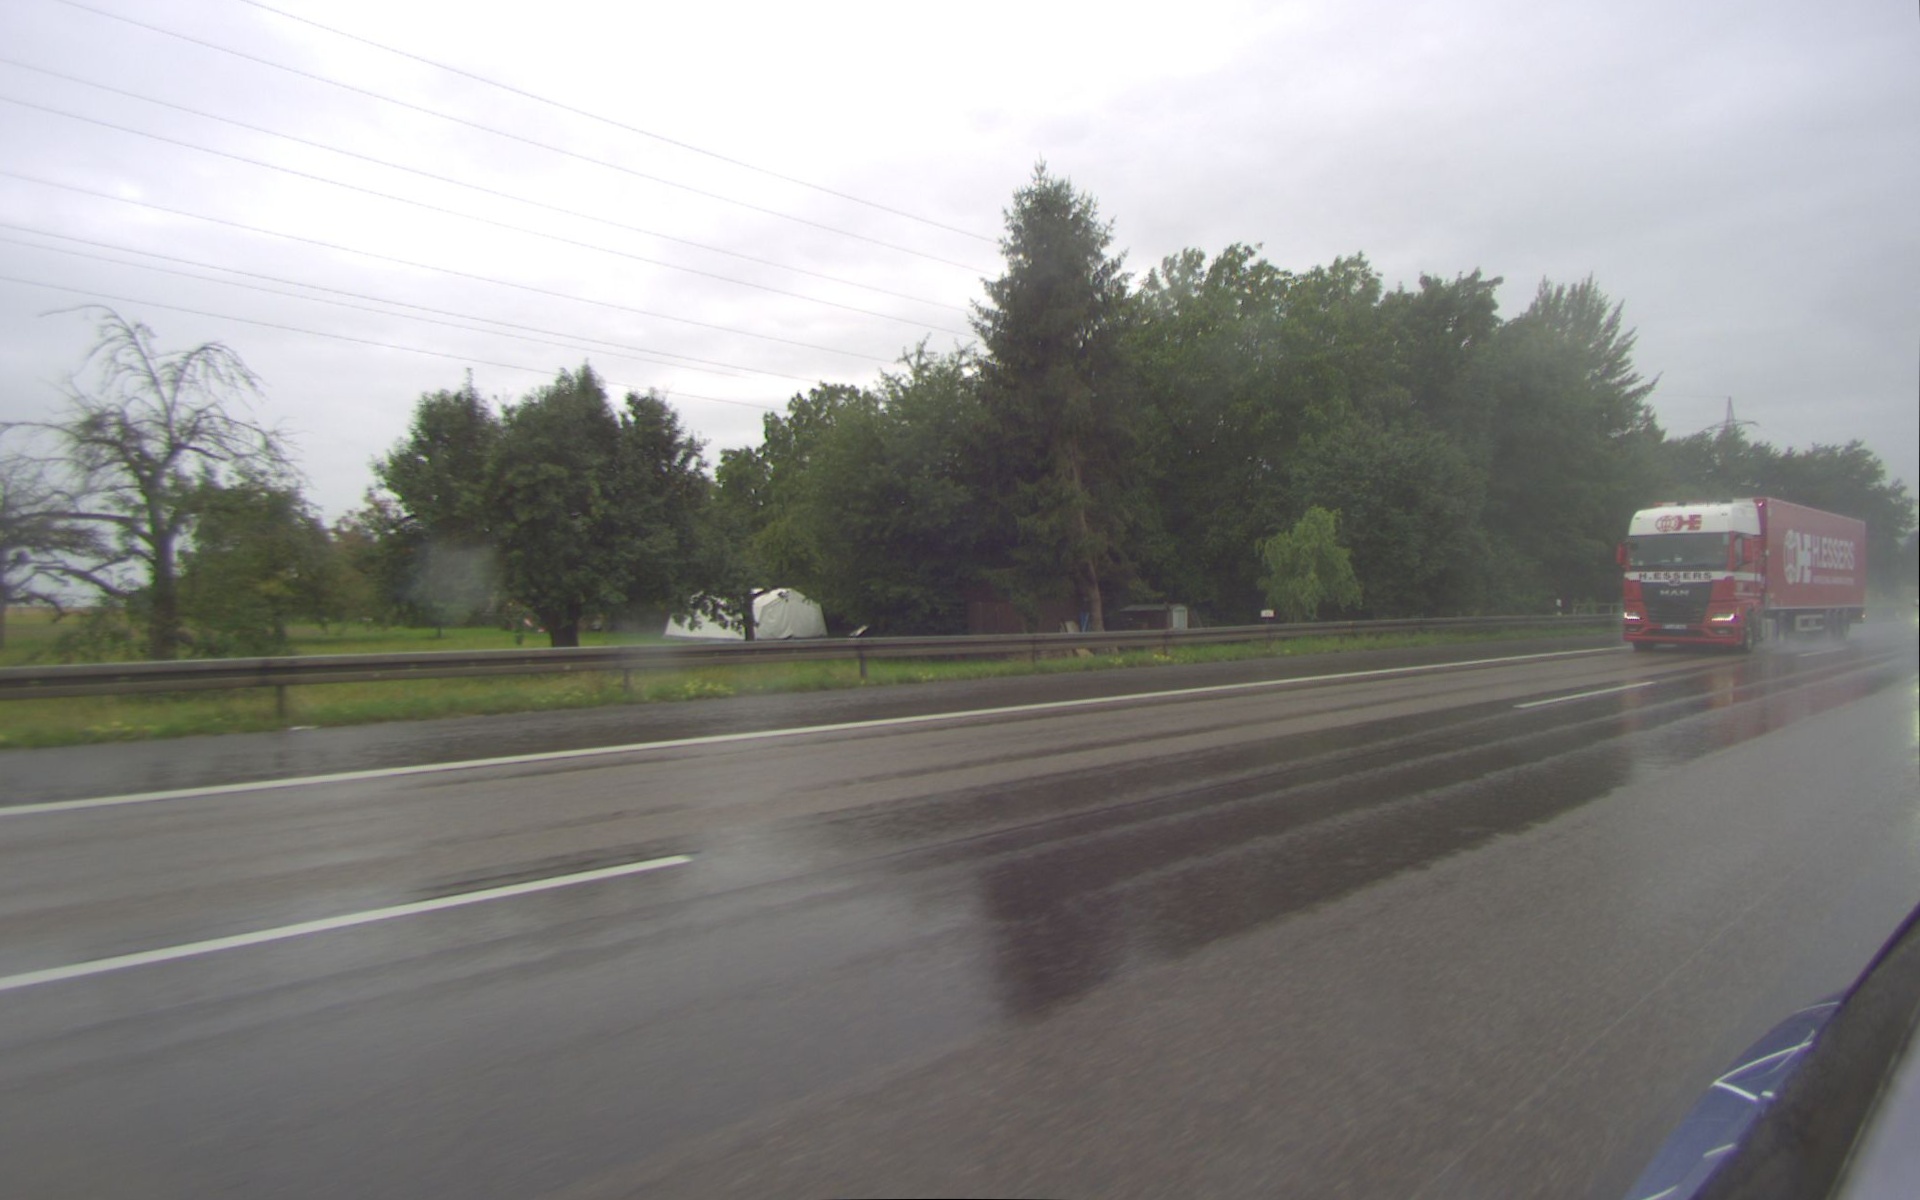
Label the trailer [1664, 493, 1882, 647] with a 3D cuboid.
[{"bbox_3d":[25.649,-0.857,31.479,13.386,4.005,2.626,-1,1,-39],"label":"trailer"}]

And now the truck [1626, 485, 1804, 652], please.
[{"bbox_3d":[20.211,-0.790,27.015,5.336,4.005,2.626,-1,0,-39],"label":"truck"}]
